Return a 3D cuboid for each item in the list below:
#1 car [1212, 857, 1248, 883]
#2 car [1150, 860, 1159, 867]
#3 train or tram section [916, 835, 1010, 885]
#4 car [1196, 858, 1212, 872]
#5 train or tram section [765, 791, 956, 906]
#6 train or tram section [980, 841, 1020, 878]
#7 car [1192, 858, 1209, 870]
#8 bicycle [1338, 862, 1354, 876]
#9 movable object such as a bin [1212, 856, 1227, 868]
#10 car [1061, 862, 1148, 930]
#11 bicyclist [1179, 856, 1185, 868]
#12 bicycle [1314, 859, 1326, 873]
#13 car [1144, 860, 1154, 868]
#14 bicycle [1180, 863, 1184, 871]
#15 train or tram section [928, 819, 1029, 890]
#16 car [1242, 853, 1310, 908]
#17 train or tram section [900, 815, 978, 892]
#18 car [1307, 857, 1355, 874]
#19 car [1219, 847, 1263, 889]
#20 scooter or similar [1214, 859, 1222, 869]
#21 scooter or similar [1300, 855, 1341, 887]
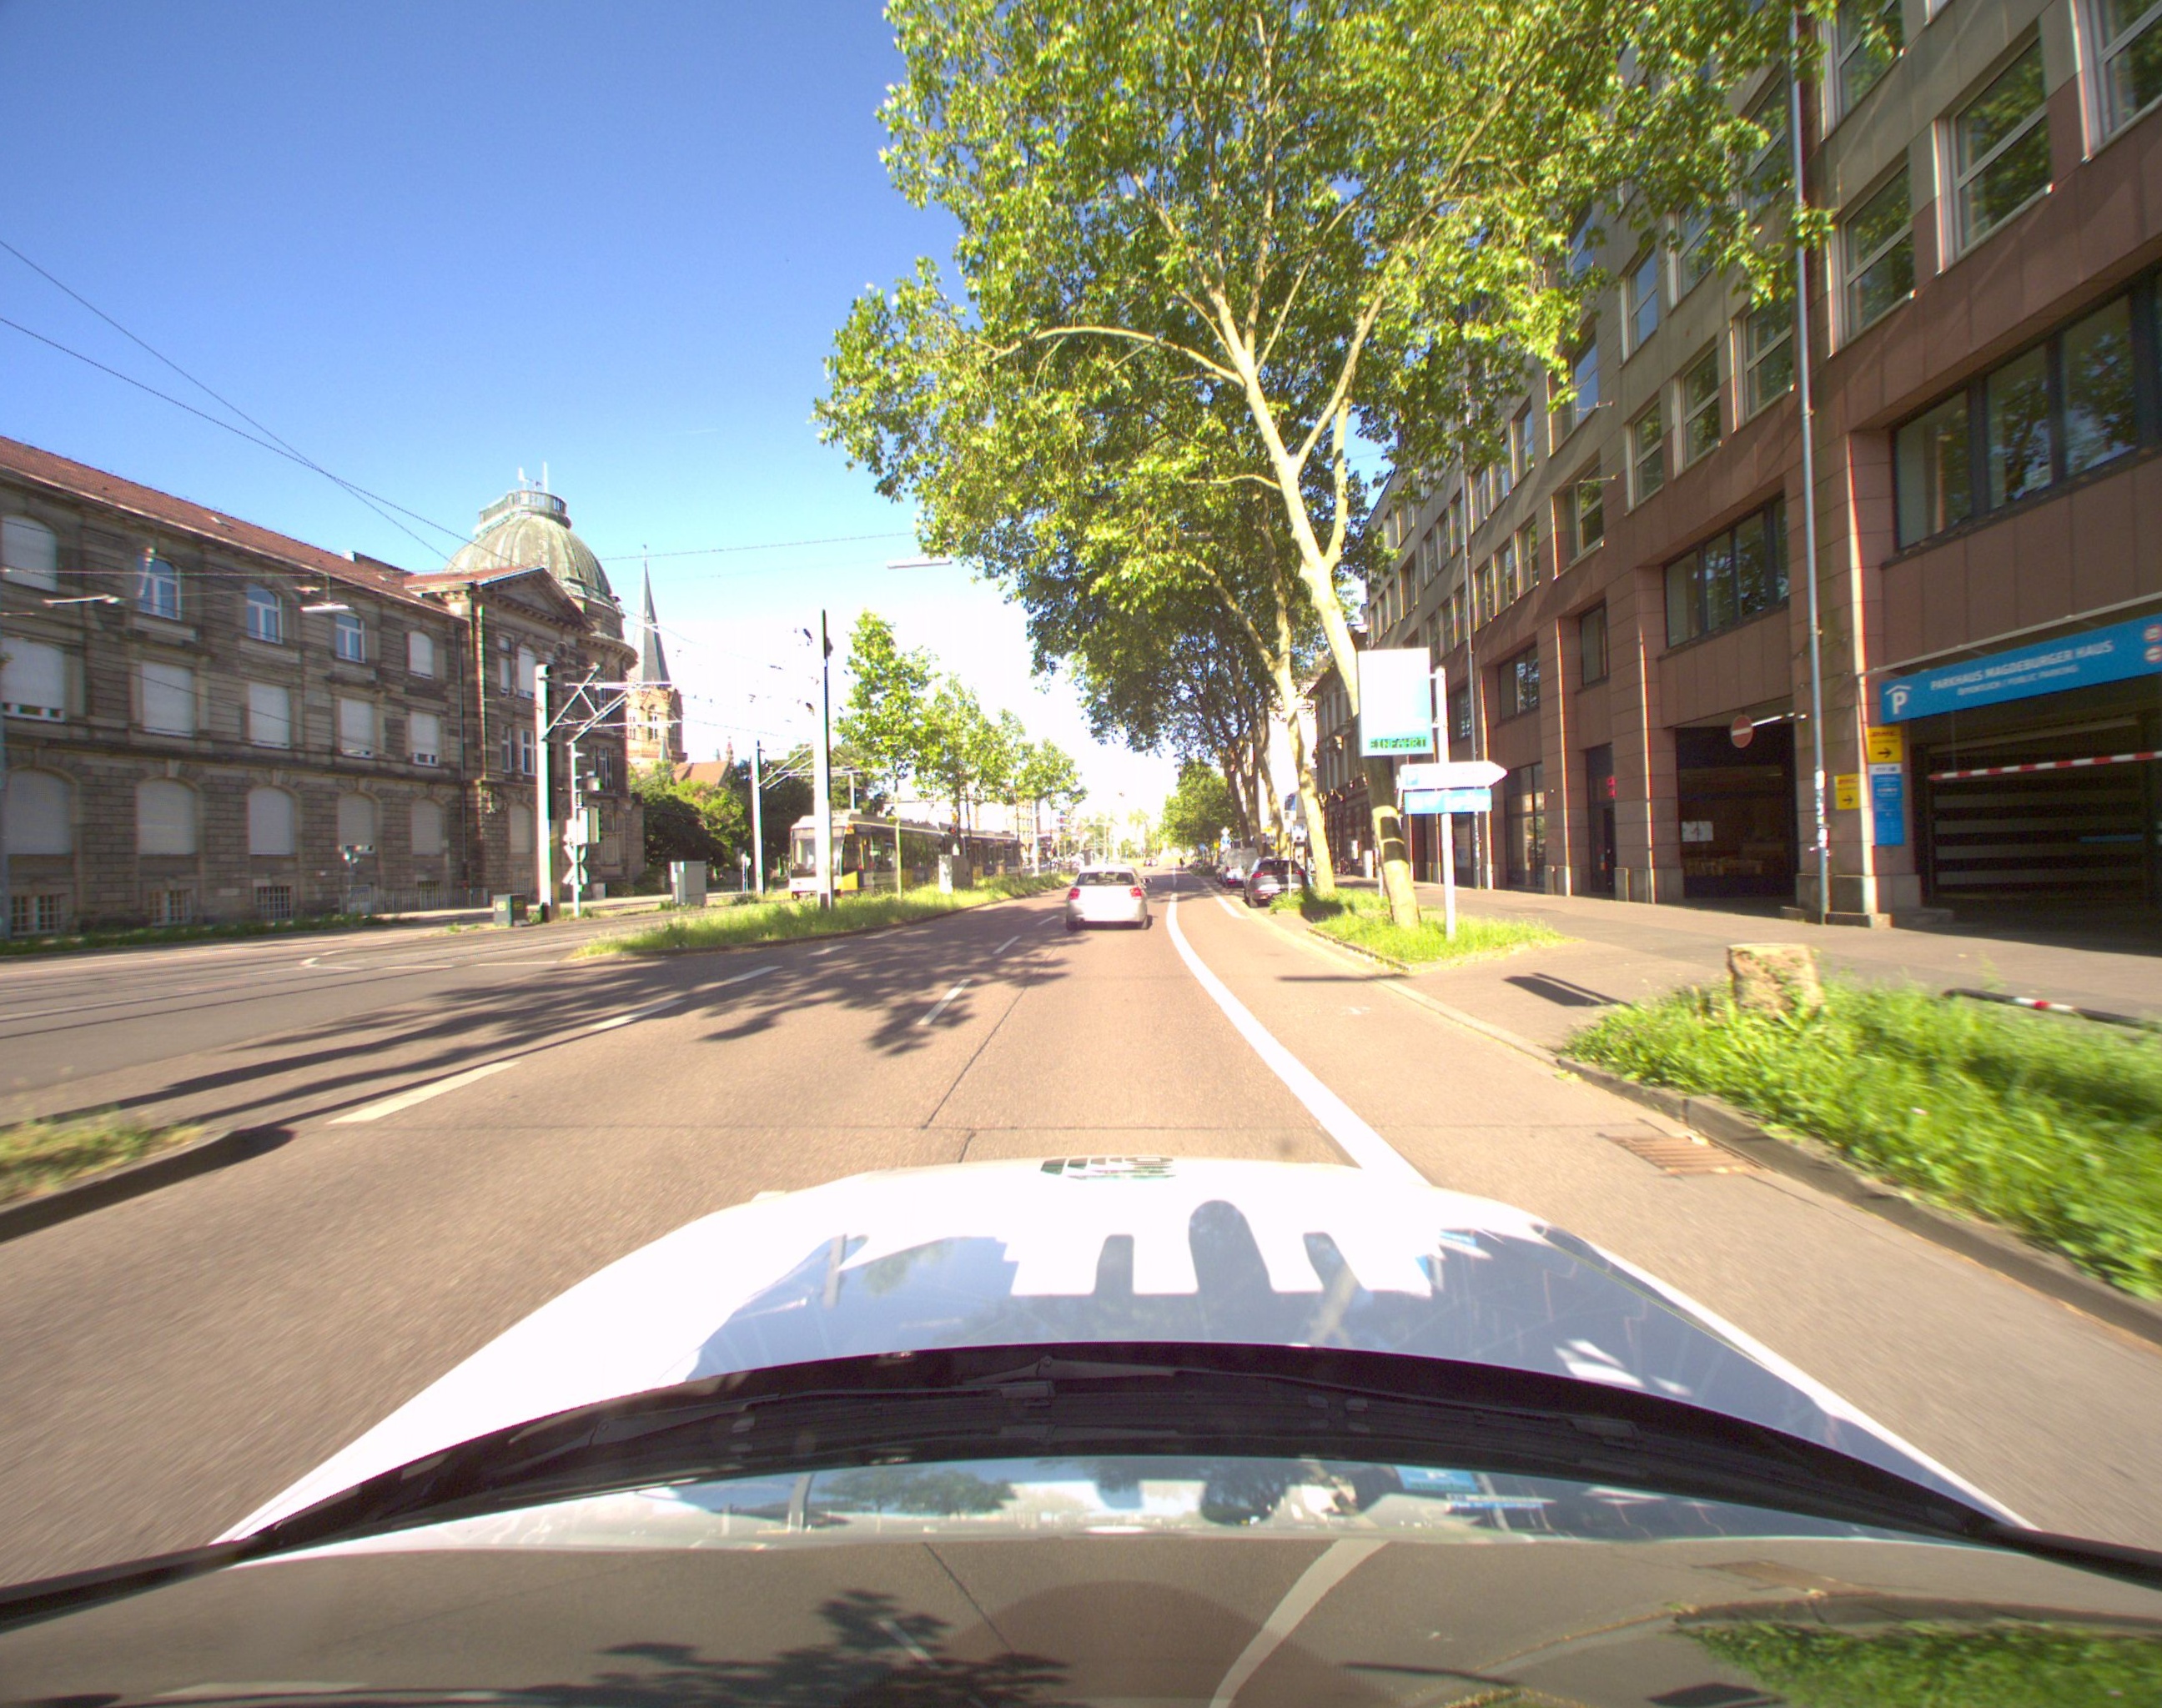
[{"bbox_3d":[9.094,0.949,50.063,1.809,1.515,4.714,0,-1,5],"label":"car"},{"bbox_3d":[14.816,1.937,164.857,1.636,1.421,4.007,-1,-1,7],"label":"car"},{"bbox_3d":[-9.269,0.485,68.055,2.949,3.484,21.246,0,0,5],"label":"train or tram section"},{"bbox_3d":[15.145,1.365,100.409,1.686,1.502,3.808,-4,0,6],"label":"car"},{"bbox_3d":[-8.443,-0.102,34.226,2.914,3.812,14.292,0,-1,5],"label":"train or tram section"},{"bbox_3d":[-8.022,0.548,81.732,2.942,3.484,6.067,0,0,4],"label":"train or tram section"},{"bbox_3d":[15.804,1.268,108.050,2.028,1.509,4.602,-2,0,6],"label":"car"},{"bbox_3d":[16.227,0.915,49.897,0.546,0.773,1.665,-3,-1,6],"label":"bicycle"},{"bbox_3d":[23.092,1.297,136.204,1.938,1.843,3.480,-2,0,1],"label":"movable object such as a bin"},{"bbox_3d":[0.585,0.901,18.959,1.791,1.415,4.002,0,-1,3],"label":"car"},{"bbox_3d":[12.615,1.004,101.533,0.781,1.531,0.896,0,-1,6],"label":"bicyclist"},{"bbox_3d":[16.820,0.838,57.328,0.412,0.997,1.886,-1,-1,6],"label":"bicycle"},{"bbox_3d":[13.074,1.884,156.890,1.719,1.470,4.415,-1,-1,4],"label":"car"},{"bbox_3d":[12.611,1.623,101.500,0.496,1.088,2.001,0,-1,7],"label":"bicycle"},{"bbox_3d":[-6.060,0.070,50.426,2.934,3.897,10.835,0,-1,11],"label":"train or tram section"},{"bbox_3d":[6.019,0.778,25.510,1.659,1.570,4.289,0,-1,8],"label":"car"},{"bbox_3d":[-7.430,-0.004,43.200,2.938,3.897,3.875,0,-1,9],"label":"train or tram section"},{"bbox_3d":[22.218,1.015,72.591,3.915,1.474,1.671,0,-1,10],"label":"car"},{"bbox_3d":[8.186,0.694,41.907,1.846,2.014,4.732,0,-1,7],"label":"car"},{"bbox_3d":[15.811,1.148,93.899,0.375,1.196,1.584,-3,-1,26],"label":"scooter or similar"},{"bbox_3d":[9.785,0.685,33.276,1.532,1.237,0.450,-2,-1,7],"label":"scooter or similar"}]
